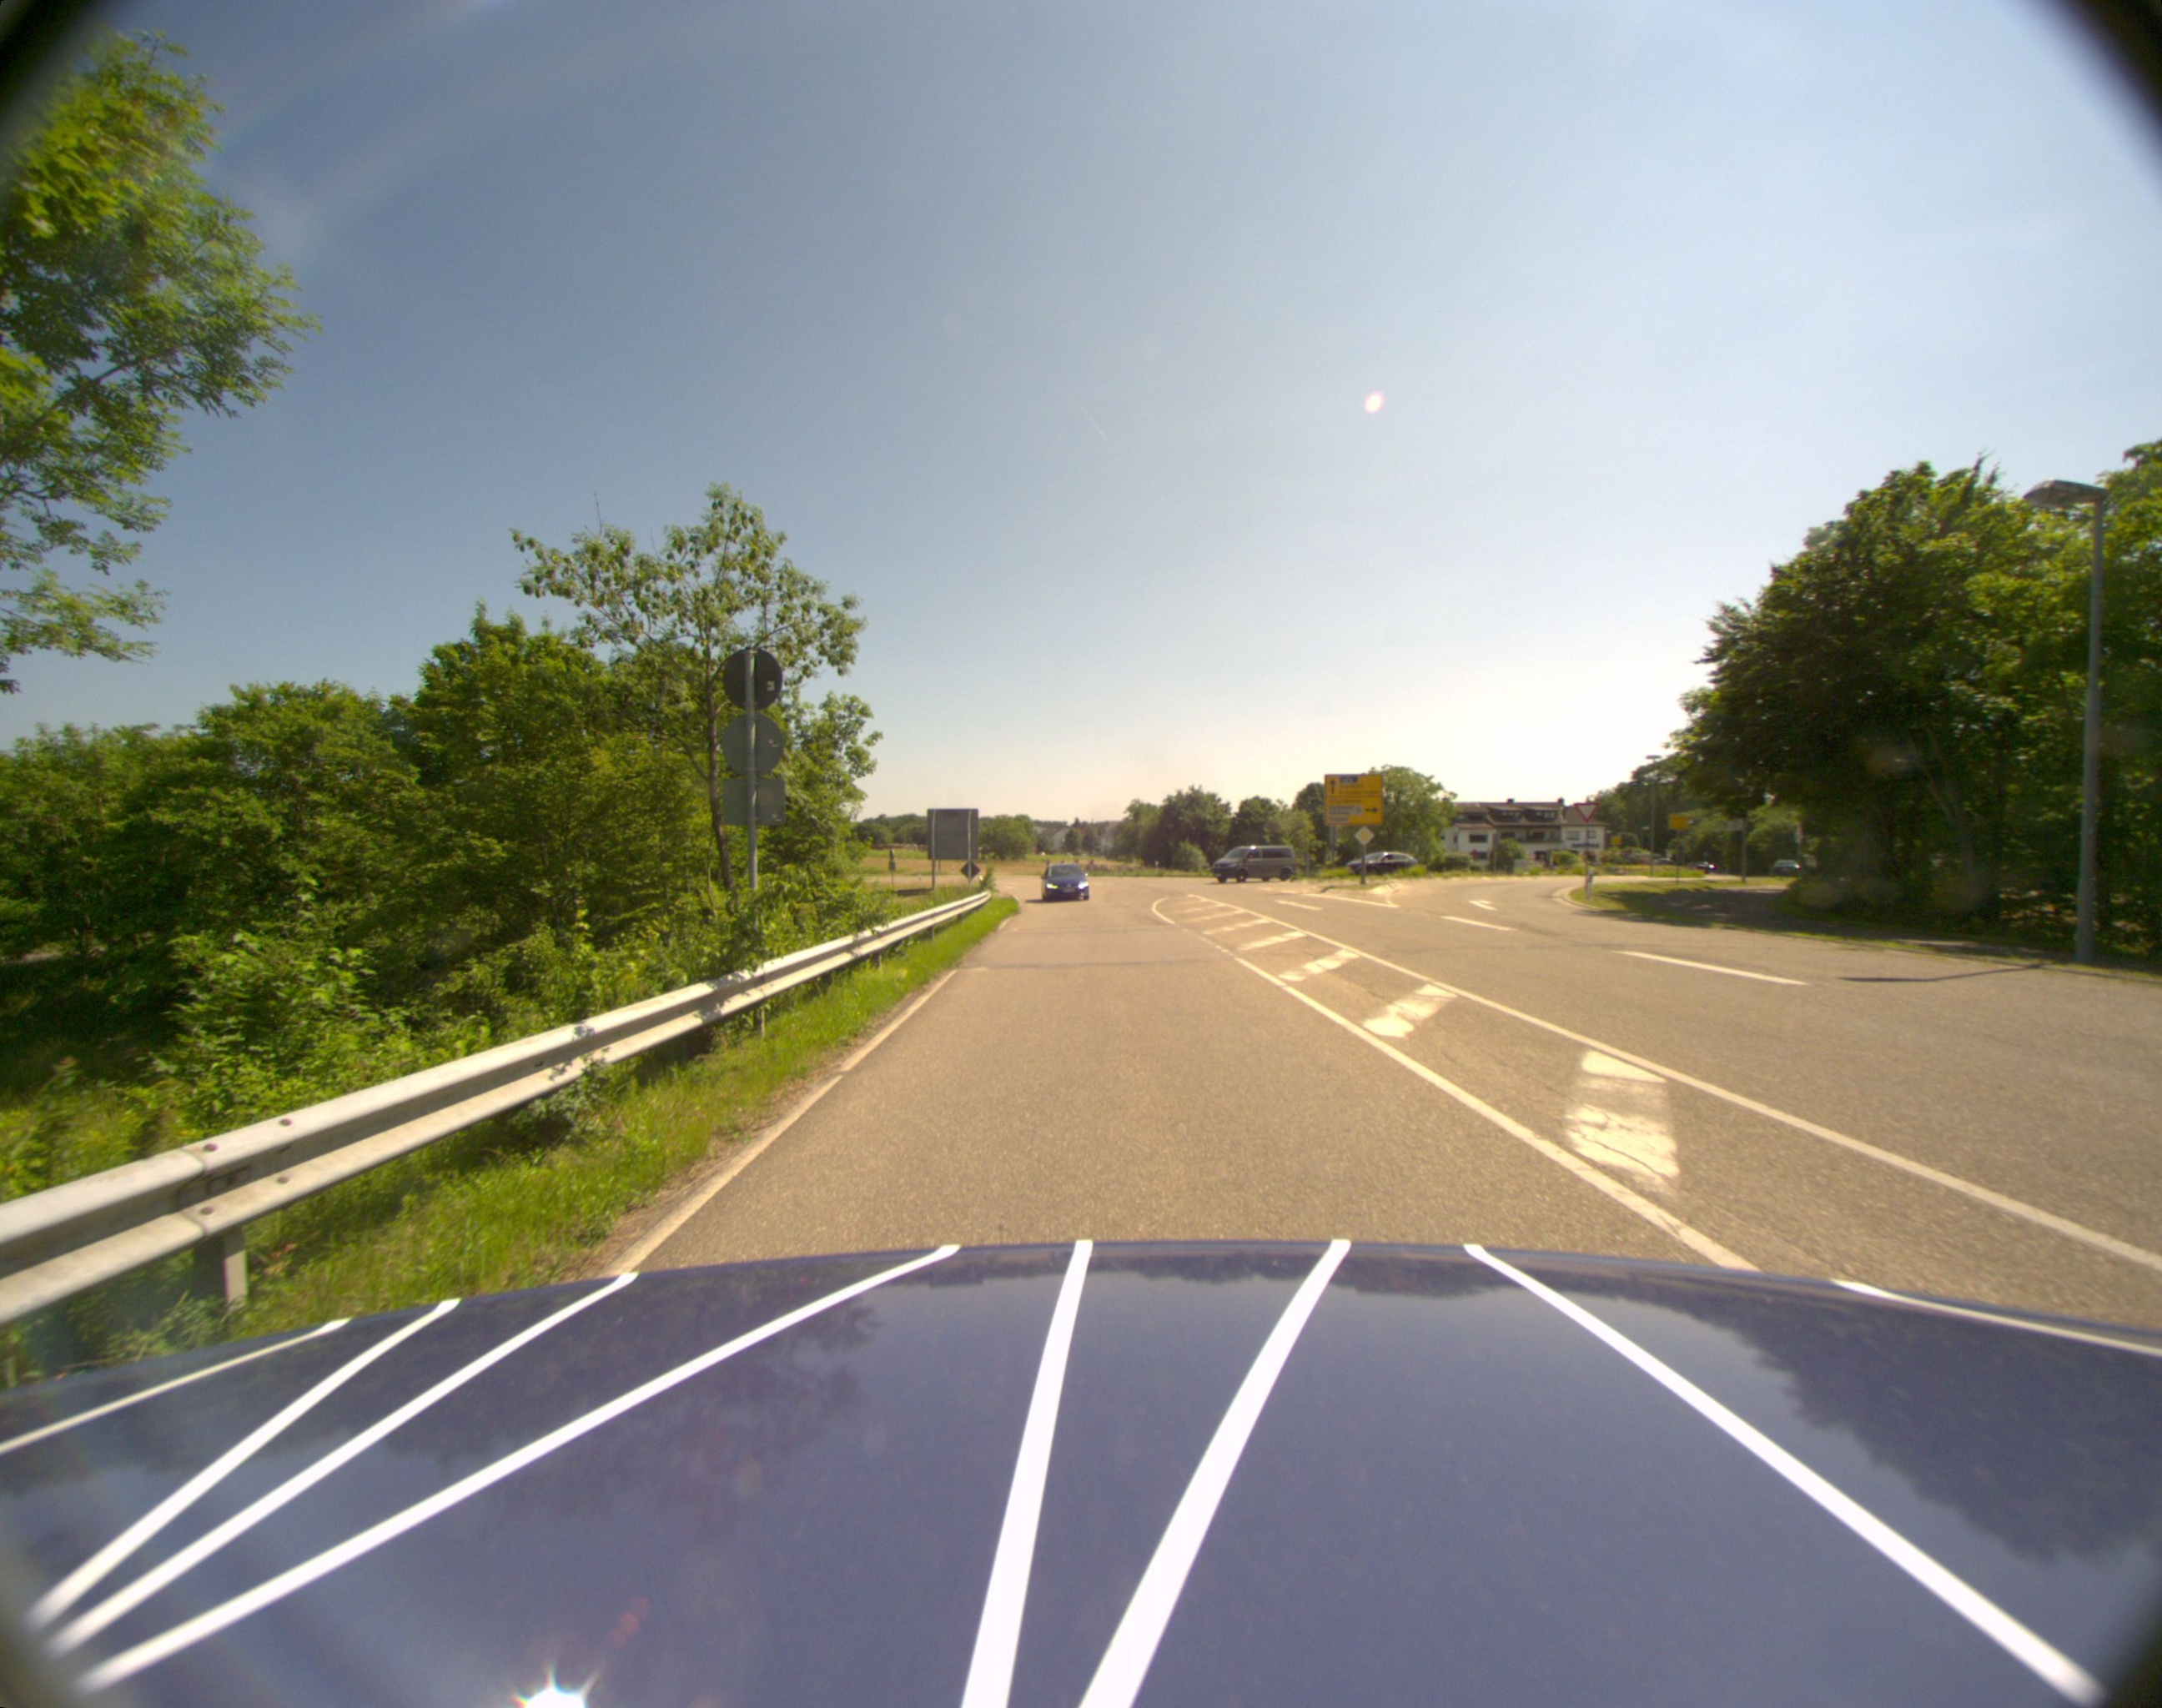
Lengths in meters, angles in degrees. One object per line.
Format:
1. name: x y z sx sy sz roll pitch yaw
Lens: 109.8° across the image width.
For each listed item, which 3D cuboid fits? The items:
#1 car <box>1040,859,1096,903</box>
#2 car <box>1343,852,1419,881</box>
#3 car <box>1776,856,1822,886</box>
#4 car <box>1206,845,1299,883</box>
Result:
1. car: -0.628 1.080 32.367 1.829 1.592 4.192 -4 1 -7
2. car: 17.749 0.712 44.911 4.383 1.636 1.745 -1 0 -29
3. car: 52.674 1.214 55.752 4.007 2.002 1.995 -3 1 -40
4. car: 9.431 0.537 41.831 4.772 2.001 1.996 -1 0 -26
